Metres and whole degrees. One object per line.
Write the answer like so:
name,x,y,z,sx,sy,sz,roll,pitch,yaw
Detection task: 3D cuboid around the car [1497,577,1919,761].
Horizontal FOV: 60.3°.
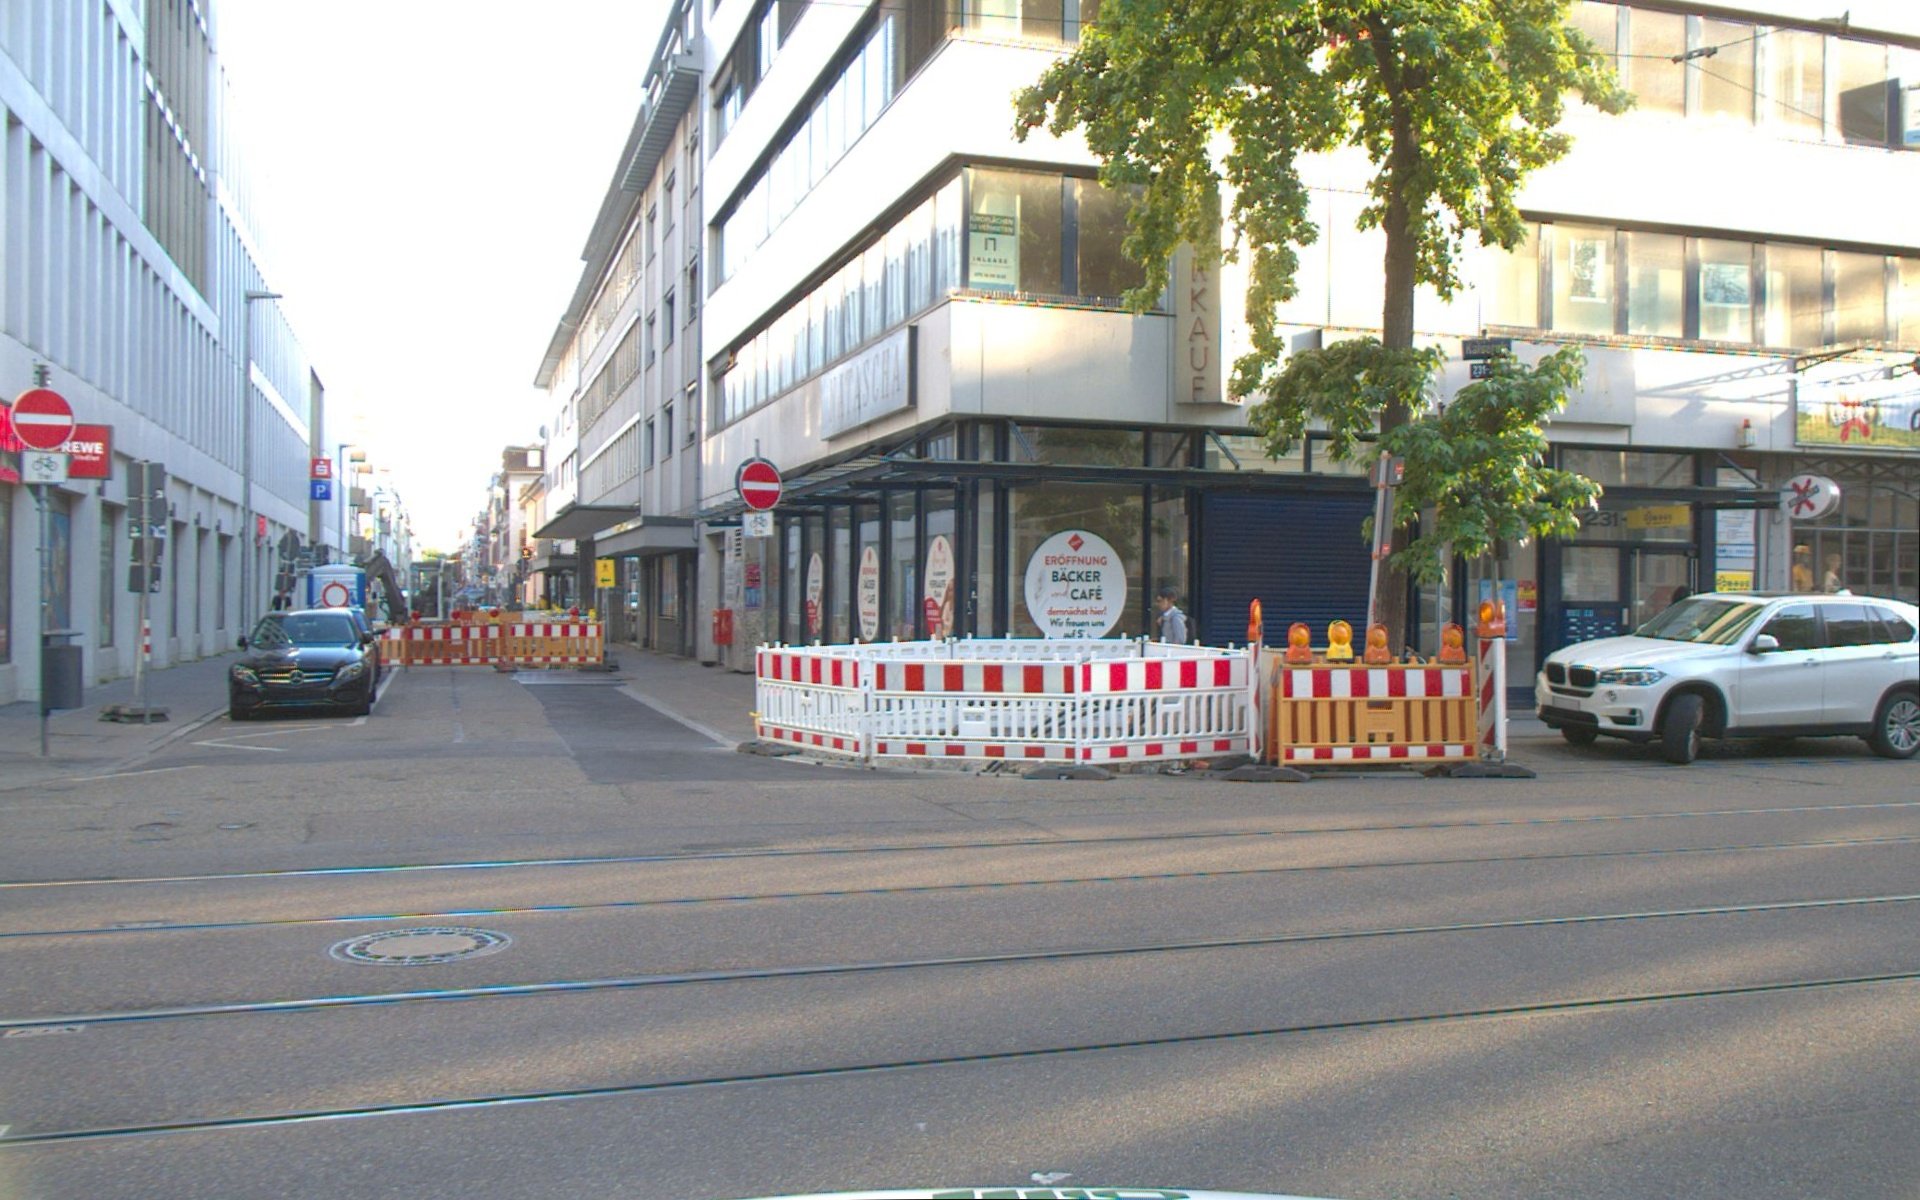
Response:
car,8.656,0.694,18.385,4.853,1.806,2.012,0,2,-18

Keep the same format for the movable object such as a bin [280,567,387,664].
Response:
movable object such as a bin,-14.222,0.323,37.739,1.962,2.049,3.981,-1,0,-17

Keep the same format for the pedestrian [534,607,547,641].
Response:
pedestrian,-18.852,1.075,74.335,0.514,1.490,0.717,0,0,-10

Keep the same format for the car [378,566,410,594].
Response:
car,-38.600,-1.343,112.850,1.962,1.807,3.981,-1,0,-17

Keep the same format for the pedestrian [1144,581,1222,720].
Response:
pedestrian,2.596,0.570,19.279,0.694,1.576,0.575,-1,0,-20

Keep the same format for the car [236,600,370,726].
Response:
car,-9.102,0.813,23.043,1.606,1.577,3.123,-1,0,-21

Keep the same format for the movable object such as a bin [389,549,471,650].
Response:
movable object such as a bin,-15.119,-0.020,47.275,2.123,2.710,4.550,0,0,-18

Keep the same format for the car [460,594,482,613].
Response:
car,-46.396,0.321,156.783,1.962,1.807,3.981,-1,0,-17

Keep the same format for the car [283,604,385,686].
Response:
car,-12.227,0.831,32.348,1.764,1.477,3.123,-1,0,-21

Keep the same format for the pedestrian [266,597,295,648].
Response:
pedestrian,-20.051,0.658,48.842,0.704,1.490,0.523,-1,0,-15
